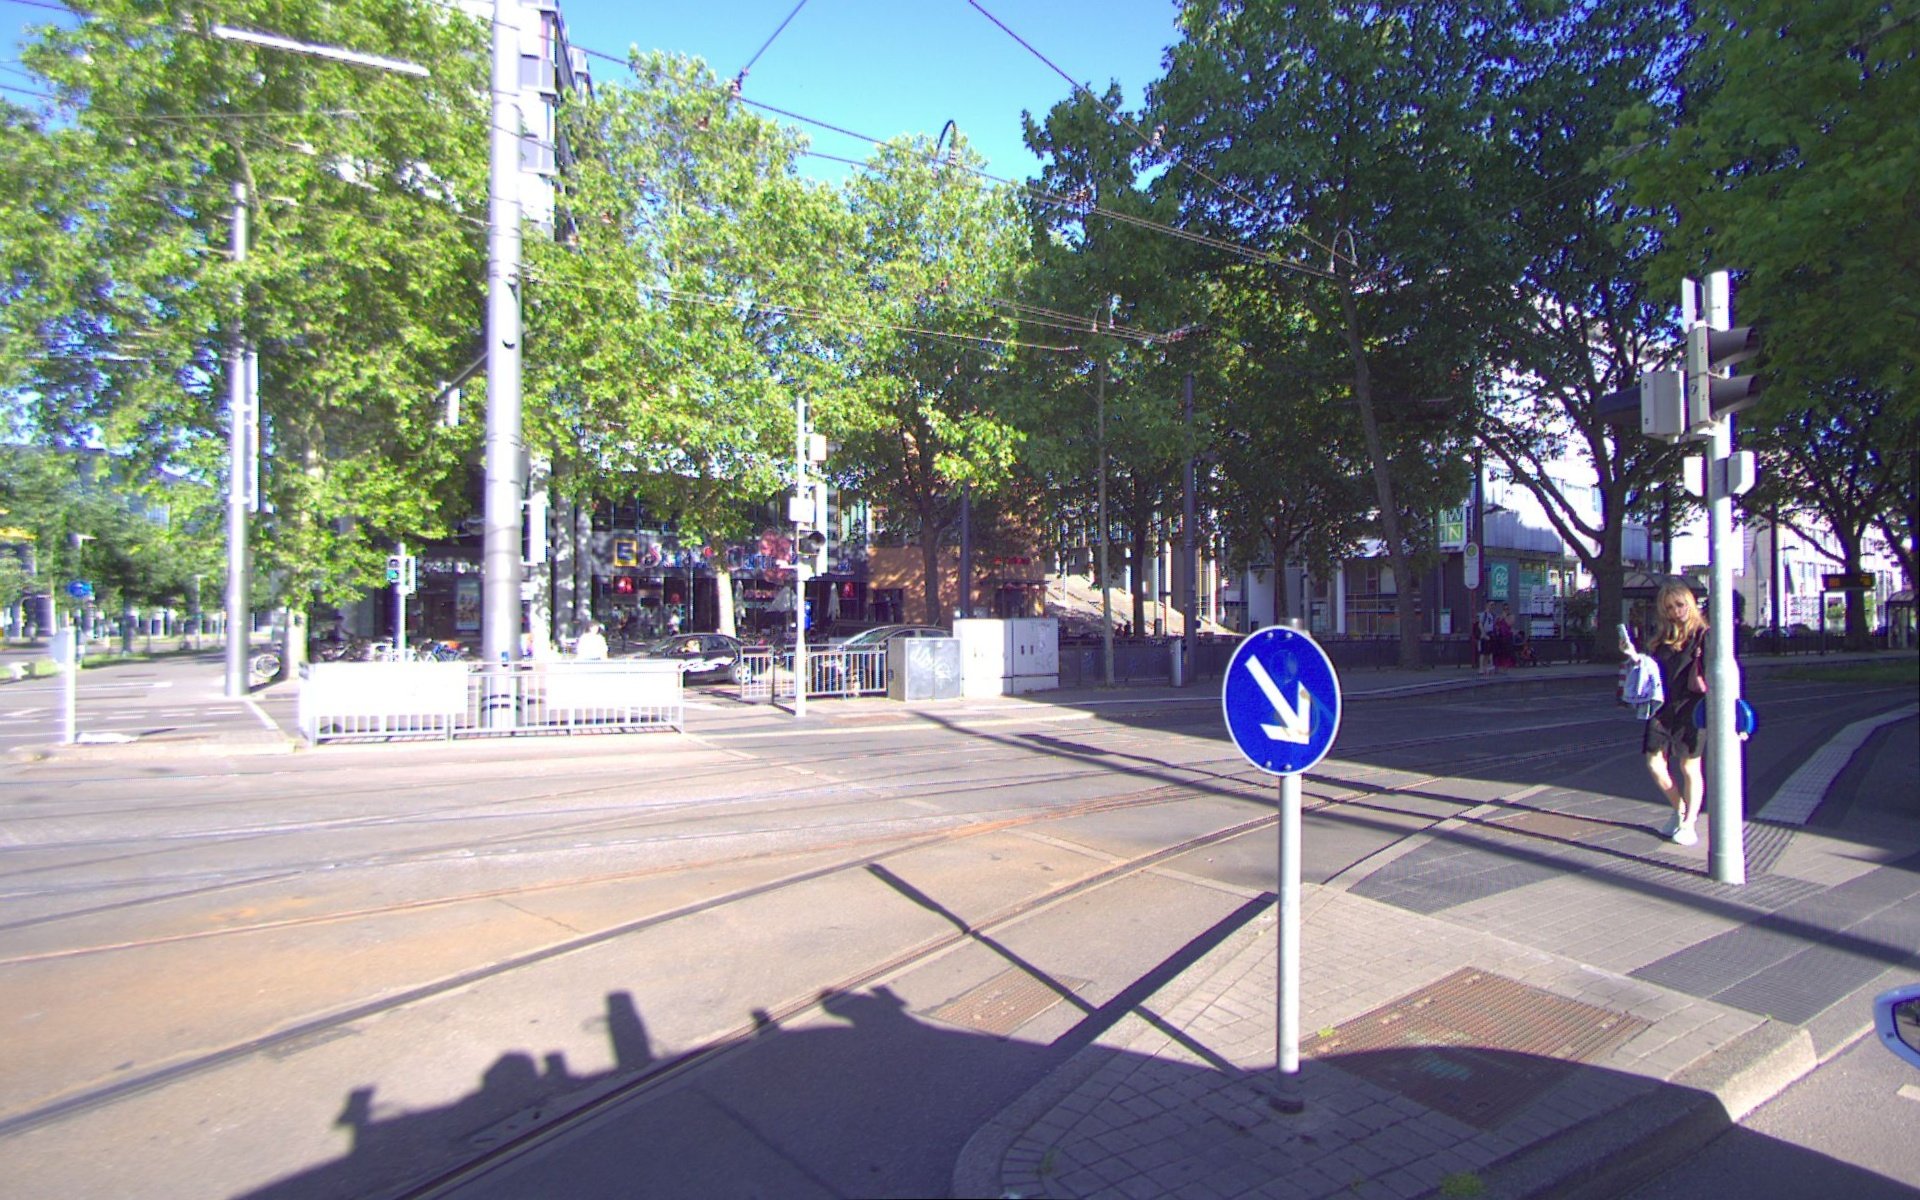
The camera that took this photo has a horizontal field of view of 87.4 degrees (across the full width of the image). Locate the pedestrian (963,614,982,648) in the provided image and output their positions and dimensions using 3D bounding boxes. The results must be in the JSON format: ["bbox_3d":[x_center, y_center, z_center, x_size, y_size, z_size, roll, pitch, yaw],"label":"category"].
[{"bbox_3d":[0.623,1.562,50.643,0.698,1.674,0.692,1,-1,-34],"label":"pedestrian"}]

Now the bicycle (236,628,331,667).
[{"bbox_3d":[-20.701,1.454,30.794,2.340,1.143,0.594,1,-2,-32],"label":"bicycle"}]

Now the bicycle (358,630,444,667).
[{"bbox_3d":[-17.689,1.530,31.820,2.341,1.143,0.594,2,-2,-33],"label":"bicycle"}]

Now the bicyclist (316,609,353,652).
[{"bbox_3d":[-23.408,1.145,37.619,0.923,1.569,0.893,1,-2,-15],"label":"bicyclist"}]

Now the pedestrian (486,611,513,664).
[{"bbox_3d":[-15.088,1.231,32.897,0.708,1.702,0.825,1,-3,-31],"label":"pedestrian"}]

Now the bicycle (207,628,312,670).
[{"bbox_3d":[-19.501,1.352,28.025,2.340,1.143,0.594,1,-2,-32],"label":"bicycle"}]

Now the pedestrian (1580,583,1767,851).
[{"bbox_3d":[4.887,0.765,6.905,0.820,1.702,0.712,1,-3,-26],"label":"pedestrian"}]

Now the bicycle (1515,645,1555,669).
[{"bbox_3d":[17.743,1.752,30.994,1.678,0.698,0.390,1,-1,-34],"label":"bicycle"}]

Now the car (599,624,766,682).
[{"bbox_3d":[-7.350,1.393,26.714,3.956,1.425,1.657,2,-1,-32],"label":"car"}]

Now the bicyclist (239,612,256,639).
[{"bbox_3d":[-39.233,1.414,55.287,0.686,1.480,0.748,1,-1,-32],"label":"bicyclist"}]

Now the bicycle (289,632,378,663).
[{"bbox_3d":[-23.406,1.771,37.603,2.645,1.118,0.894,1,-2,-12],"label":"bicycle"}]

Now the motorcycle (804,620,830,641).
[{"bbox_3d":[-7.585,1.627,53.151,0.820,1.072,2.330,1,-1,-22],"label":"motorcycle"}]

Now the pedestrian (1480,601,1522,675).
[{"bbox_3d":[13.785,0.961,25.607,0.730,1.853,0.592,1,0,-3],"label":"pedestrian"}]

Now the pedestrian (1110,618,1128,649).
[{"bbox_3d":[8.702,1.821,55.111,0.698,1.674,0.692,1,-1,-34],"label":"pedestrian"}]

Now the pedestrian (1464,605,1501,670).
[{"bbox_3d":[14.845,1.067,28.562,0.733,1.824,0.590,1,-1,-19],"label":"pedestrian"}]

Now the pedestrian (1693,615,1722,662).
[{"bbox_3d":[25.950,1.339,34.857,0.630,1.594,0.562,-1,0,-22],"label":"pedestrian"}]

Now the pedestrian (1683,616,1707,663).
[{"bbox_3d":[25.344,1.340,34.643,0.488,1.594,0.498,-1,0,-30],"label":"pedestrian"}]

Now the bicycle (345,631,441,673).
[{"bbox_3d":[-16.038,1.460,28.453,2.341,1.143,0.594,2,-2,-33],"label":"bicycle"}]

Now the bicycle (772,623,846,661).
[{"bbox_3d":[-5.931,1.618,39.200,3.315,1.371,1.029,0,-1,43],"label":"bicycle"}]

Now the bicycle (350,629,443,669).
[{"bbox_3d":[-16.543,1.445,29.541,2.341,1.143,0.594,2,-2,-33],"label":"bicycle"}]

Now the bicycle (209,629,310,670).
[{"bbox_3d":[-20.341,1.437,29.229,2.340,1.143,0.594,1,-2,-32],"label":"bicycle"}]

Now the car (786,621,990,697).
[{"bbox_3d":[-1.455,1.199,21.017,3.959,1.433,1.656,2,-1,-34],"label":"car"}]

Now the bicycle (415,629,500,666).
[{"bbox_3d":[-15.865,1.482,31.742,2.341,1.143,0.594,2,-2,-33],"label":"bicycle"}]

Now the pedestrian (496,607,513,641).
[{"bbox_3d":[-22.730,1.188,50.114,0.696,1.674,0.695,1,-1,-23],"label":"pedestrian"}]

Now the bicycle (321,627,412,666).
[{"bbox_3d":[-17.826,1.393,30.207,2.341,1.143,0.594,2,-2,-33],"label":"bicycle"}]

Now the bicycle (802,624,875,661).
[{"bbox_3d":[-4.901,1.686,40.306,3.315,1.371,1.029,0,-1,43],"label":"bicycle"}]

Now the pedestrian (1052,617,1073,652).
[{"bbox_3d":[4.895,1.653,48.062,0.698,1.674,0.692,1,-1,-33],"label":"pedestrian"}]

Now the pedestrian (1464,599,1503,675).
[{"bbox_3d":[13.124,0.919,25.171,0.738,1.853,0.629,1,-1,-39],"label":"pedestrian"}]

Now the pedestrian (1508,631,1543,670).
[{"bbox_3d":[17.522,1.556,31.128,0.733,1.179,0.590,1,-1,-19],"label":"pedestrian"}]

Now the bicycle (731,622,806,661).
[{"bbox_3d":[-7.205,1.525,37.634,3.315,1.371,1.029,0,-1,43],"label":"bicycle"}]

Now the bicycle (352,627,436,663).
[{"bbox_3d":[-18.361,1.461,32.625,2.341,1.143,0.594,2,-2,-33],"label":"bicycle"}]

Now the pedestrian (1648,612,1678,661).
[{"bbox_3d":[23.387,1.207,33.405,0.658,1.594,0.486,-1,0,9],"label":"pedestrian"}]

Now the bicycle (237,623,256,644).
[{"bbox_3d":[-39.194,1.842,55.203,0.686,1.152,1.835,1,-1,-31],"label":"bicycle"}]

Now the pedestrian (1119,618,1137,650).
[{"bbox_3d":[9.104,1.838,54.493,0.698,1.674,0.692,1,-1,-34],"label":"pedestrian"}]

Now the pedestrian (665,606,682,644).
[{"bbox_3d":[-13.720,1.209,48.101,0.695,1.791,0.695,1,-1,-21],"label":"pedestrian"}]

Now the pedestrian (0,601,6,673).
[{"bbox_3d":[-25.467,0.956,26.189,0.726,1.894,0.667,1,-1,-34],"label":"pedestrian"}]

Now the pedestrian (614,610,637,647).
[{"bbox_3d":[-15.254,1.281,45.785,0.692,1.674,0.698,0,-1,20],"label":"pedestrian"}]

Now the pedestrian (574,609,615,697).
[{"bbox_3d":[-7.341,1.059,20.161,0.706,1.702,0.826,1,-3,-24],"label":"pedestrian"}]

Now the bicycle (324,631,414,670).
[{"bbox_3d":[-18.084,1.544,30.787,2.341,1.143,0.594,2,-2,-33],"label":"bicycle"}]
